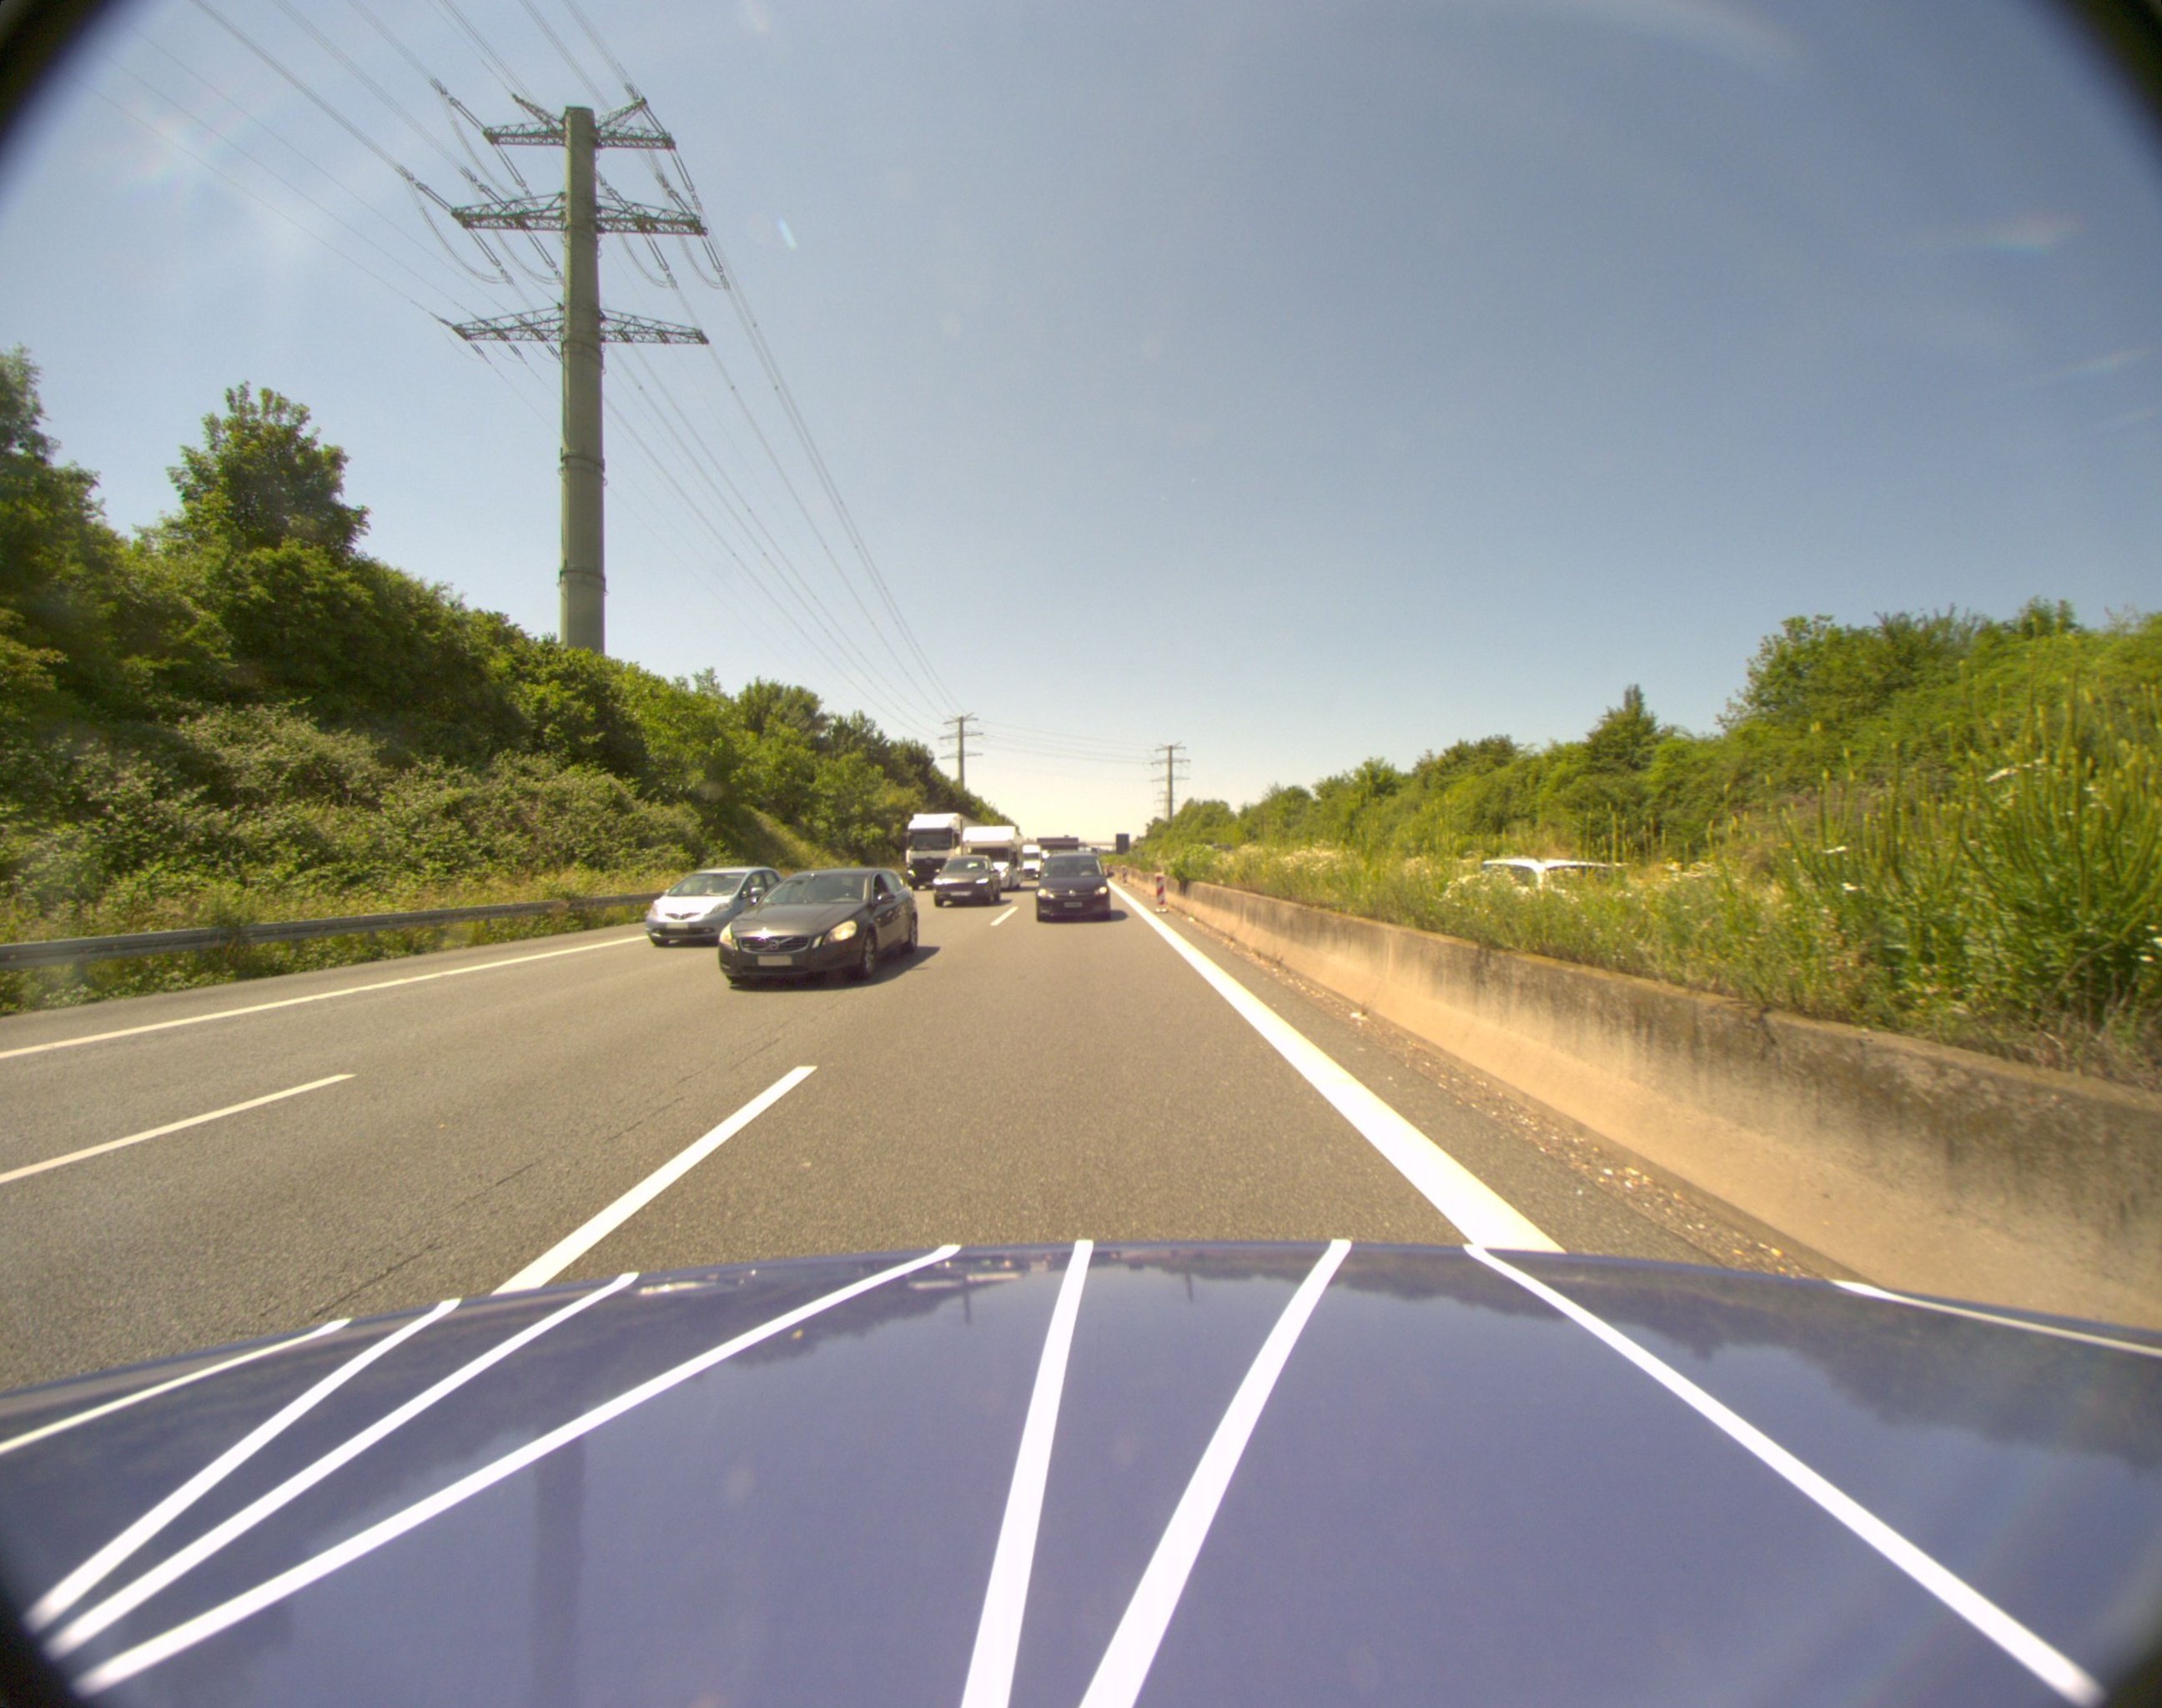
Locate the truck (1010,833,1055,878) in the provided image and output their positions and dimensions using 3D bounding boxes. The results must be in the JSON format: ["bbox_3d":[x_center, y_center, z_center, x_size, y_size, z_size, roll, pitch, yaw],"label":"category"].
[{"bbox_3d":[-3.497,0.101,57.417,2.514,2.997,9.897,-2,0,1],"label":"truck"}]

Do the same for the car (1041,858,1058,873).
[{"bbox_3d":[-3.837,1.364,92.883,1.892,1.692,4.382,-2,0,-2],"label":"car"}]

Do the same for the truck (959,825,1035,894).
[{"bbox_3d":[-4.065,0.212,38.886,2.514,2.997,9.897,-2,0,1],"label":"truck"}]

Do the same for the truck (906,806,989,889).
[{"bbox_3d":[-7.505,-0.335,44.473,2.655,4.128,11.660,-2,0,0],"label":"truck"}]

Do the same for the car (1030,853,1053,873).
[{"bbox_3d":[-3.563,0.790,69.473,1.892,1.692,4.382,-2,0,-2],"label":"car"}]

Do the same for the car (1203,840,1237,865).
[{"bbox_3d":[11.897,-0.162,65.427,1.998,2.079,5.228,0,0,0],"label":"car"}]

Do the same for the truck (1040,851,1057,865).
[{"bbox_3d":[-5.452,0.603,127.543,2.409,2.203,6.743,-2,0,1],"label":"truck"}]

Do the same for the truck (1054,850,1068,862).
[{"bbox_3d":[-3.838,0.438,148.295,2.409,2.203,6.743,-2,0,1],"label":"truck"}]

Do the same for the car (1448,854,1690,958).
[{"bbox_3d":[8.057,0.752,13.040,1.587,1.434,4.000,-2,0,1],"label":"car"}]

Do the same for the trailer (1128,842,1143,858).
[{"bbox_3d":[14.576,-1.029,205.459,3.024,4.142,14.019,2,0,0],"label":"trailer"}]

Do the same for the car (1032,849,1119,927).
[{"bbox_3d":[-0.180,0.763,19.386,1.892,1.692,4.382,-2,0,-2],"label":"car"}]

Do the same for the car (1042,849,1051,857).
[{"bbox_3d":[-8.430,-0.302,186.642,1.998,2.002,4.000,-2,0,0],"label":"car"}]

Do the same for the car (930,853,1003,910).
[{"bbox_3d":[-3.800,0.862,26.033,1.892,1.692,4.382,-2,0,-2],"label":"car"}]

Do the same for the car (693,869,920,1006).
[{"bbox_3d":[-3.641,1.019,10.971,1.801,1.429,4.230,-2,0,-2],"label":"car"}]

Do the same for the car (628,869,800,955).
[{"bbox_3d":[-7.428,1.098,15.826,1.801,1.429,3.730,-2,0,-2],"label":"car"}]
